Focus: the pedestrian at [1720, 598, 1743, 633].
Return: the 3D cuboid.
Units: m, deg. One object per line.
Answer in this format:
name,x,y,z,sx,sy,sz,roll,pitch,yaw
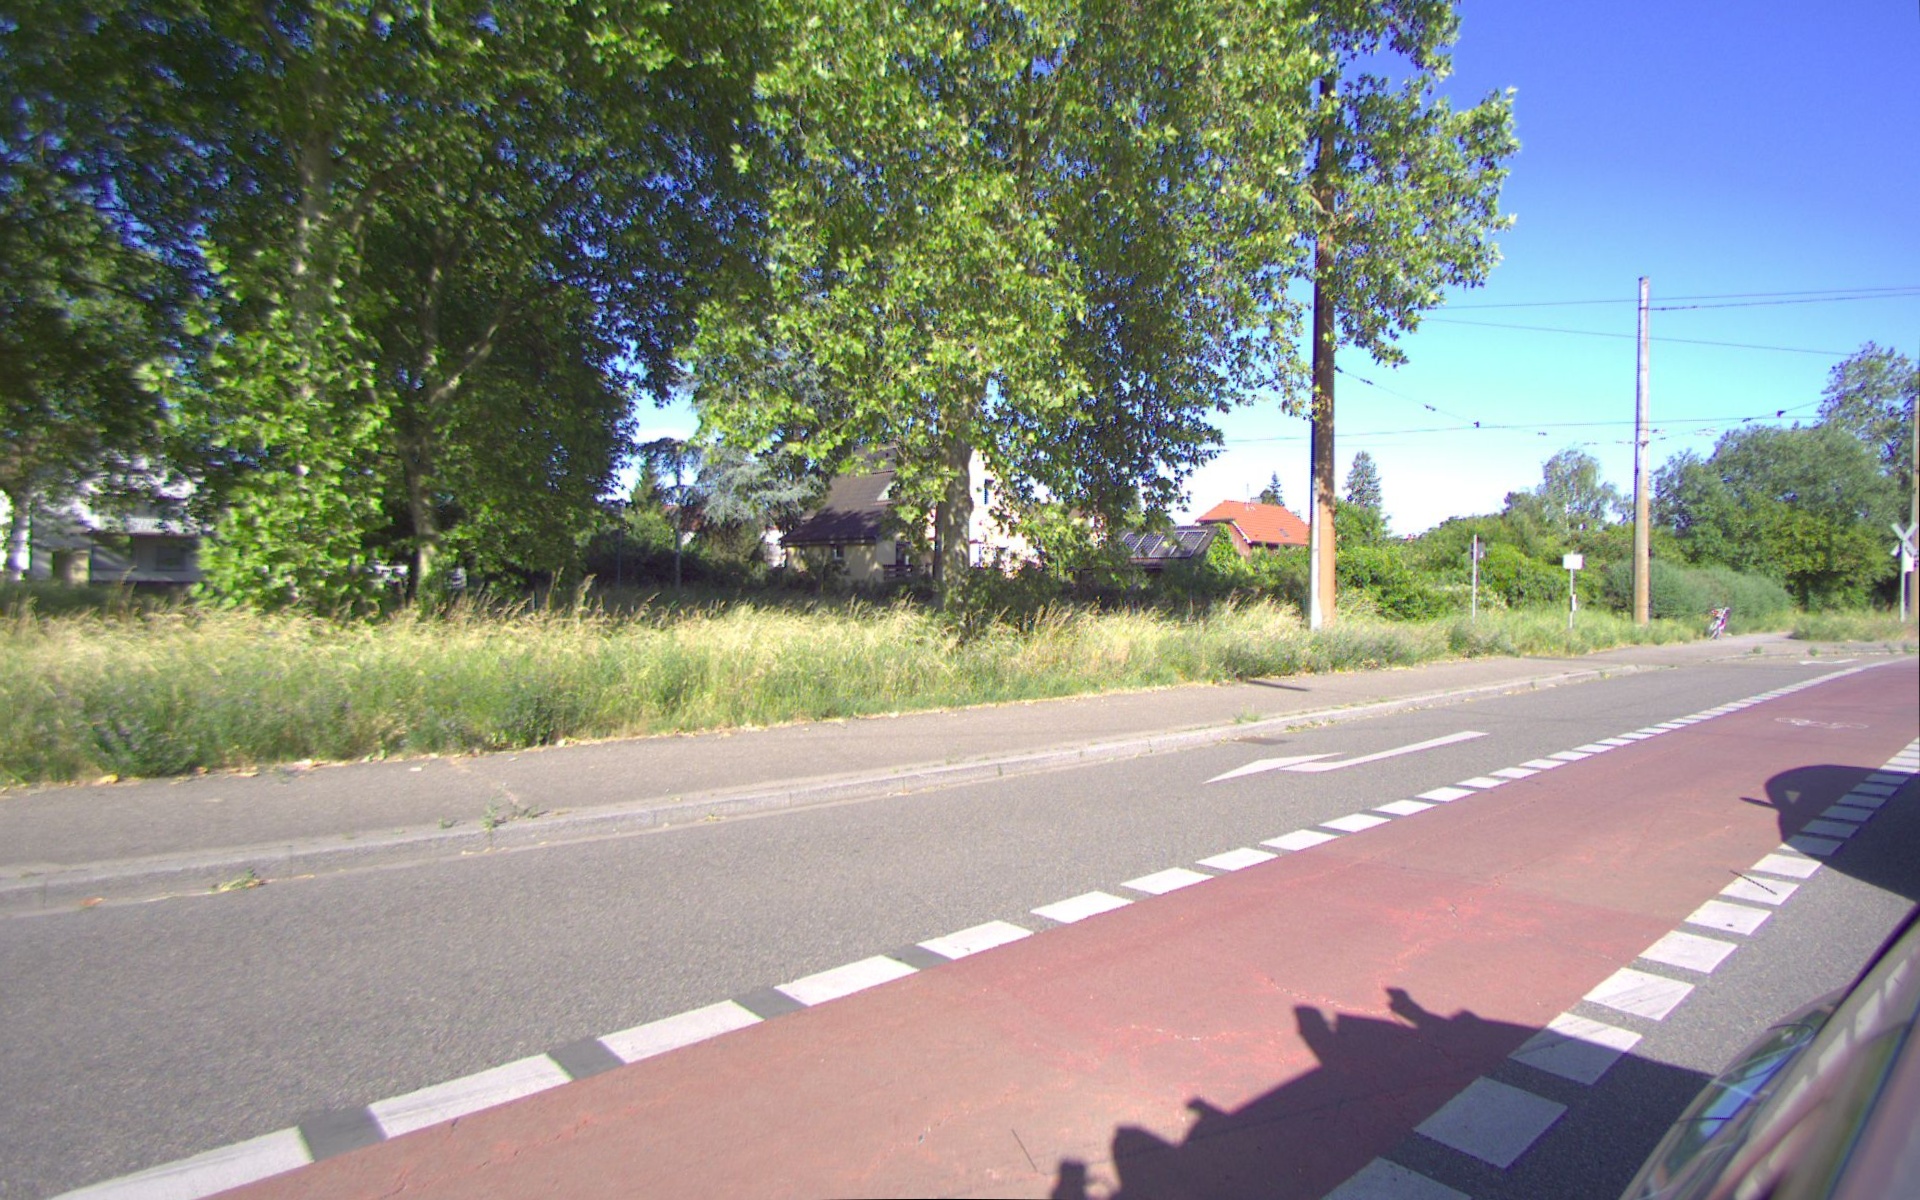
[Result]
pedestrian,23.719,0.473,31.117,0.446,1.046,0.482,1,1,-41
